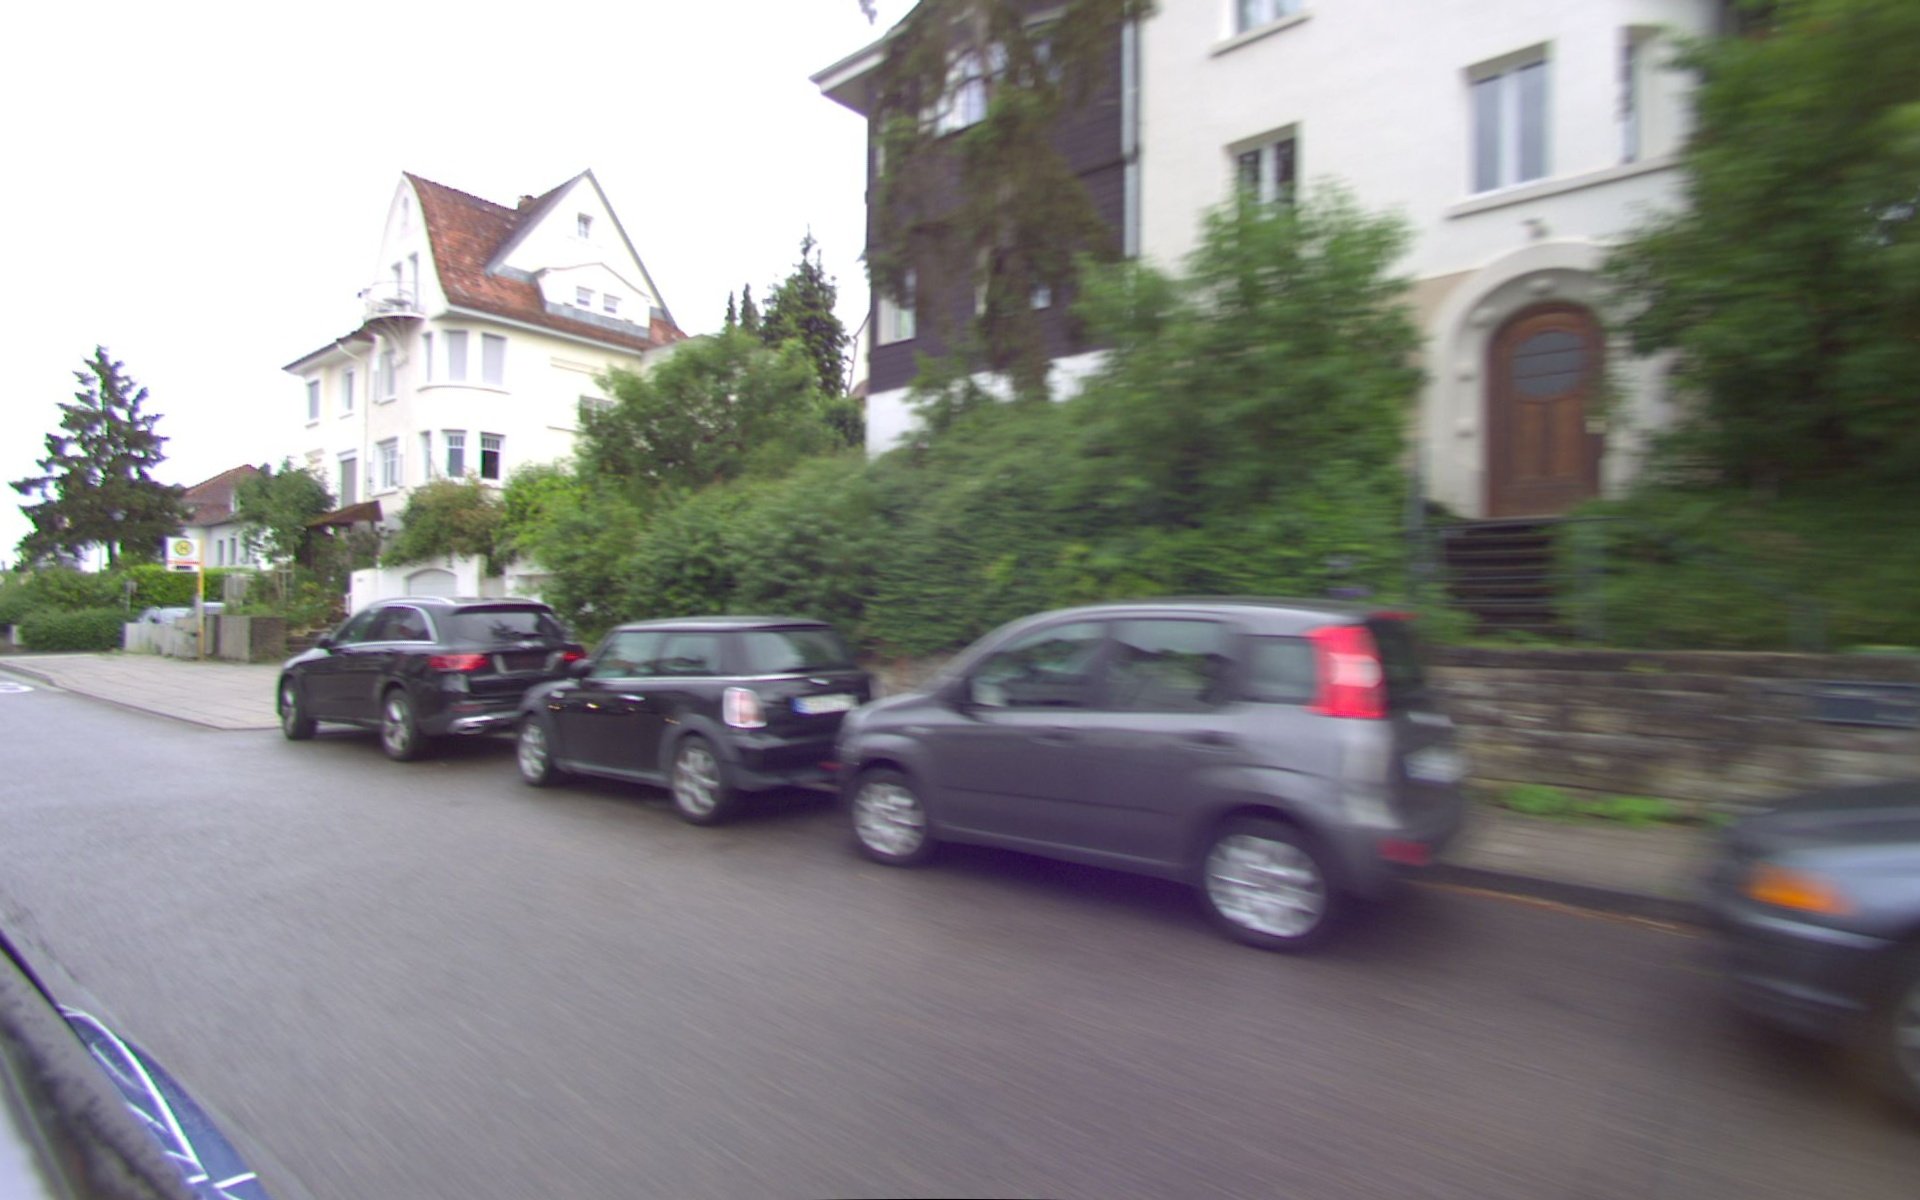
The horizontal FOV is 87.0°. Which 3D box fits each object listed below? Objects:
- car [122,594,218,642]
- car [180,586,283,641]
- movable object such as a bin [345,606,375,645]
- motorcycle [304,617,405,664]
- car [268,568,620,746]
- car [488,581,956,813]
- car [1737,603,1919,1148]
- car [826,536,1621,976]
[{"bbox_3d":[-28.522,0.664,36.525,3.993,1.630,1.749,-2,-2,37],"label":"car"},{"bbox_3d":[-24.820,0.480,34.437,3.993,1.709,1.749,-2,-2,37],"label":"car"},{"bbox_3d":[-16.556,0.701,27.937,0.513,1.066,0.568,-3,-2,41],"label":"movable object such as a bin"},{"bbox_3d":[-13.164,0.862,22.058,0.603,0.910,1.776,0,2,40],"label":"motorcycle"},{"bbox_3d":[-5.908,0.539,11.378,4.373,1.635,1.875,-1,0,38],"label":"car"},{"bbox_3d":[-2.090,0.672,8.339,3.811,1.458,1.874,-3,-2,41],"label":"car"},{"bbox_3d":[4.535,0.680,2.199,4.413,1.458,1.738,-3,-2,40],"label":"car"},{"bbox_3d":[1.186,0.564,5.460,3.811,1.553,1.679,-1,0,40],"label":"car"}]
